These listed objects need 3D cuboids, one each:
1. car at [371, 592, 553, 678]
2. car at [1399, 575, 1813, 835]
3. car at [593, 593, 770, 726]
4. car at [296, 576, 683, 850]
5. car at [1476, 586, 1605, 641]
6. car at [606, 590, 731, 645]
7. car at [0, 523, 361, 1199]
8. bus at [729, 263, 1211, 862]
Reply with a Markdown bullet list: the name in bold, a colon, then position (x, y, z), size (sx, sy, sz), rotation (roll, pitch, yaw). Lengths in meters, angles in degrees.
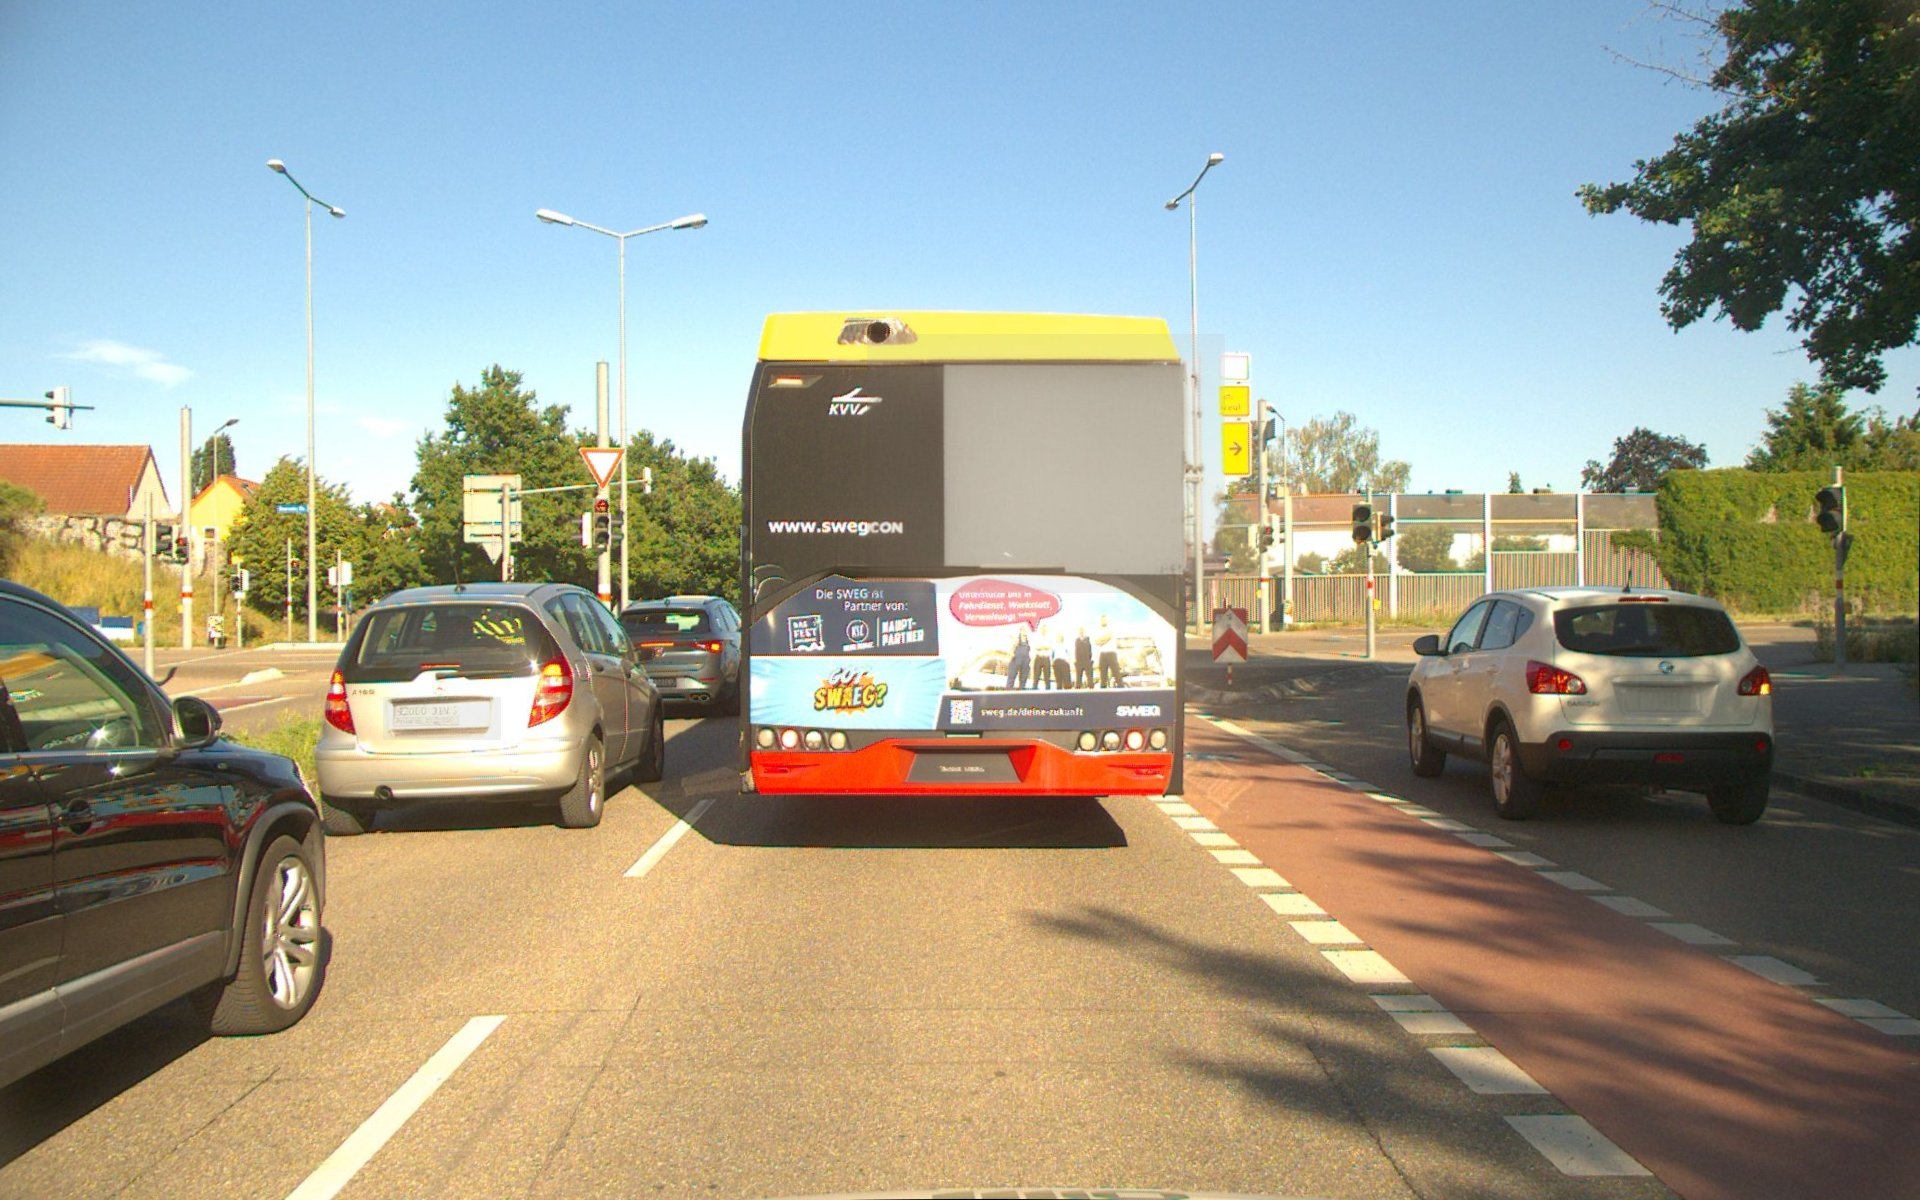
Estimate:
- **car**: position (-9.795, 0.649, 32.864), size (1.725, 1.552, 4.084), rotation (-2, 0, 11)
- **car**: position (4.662, 0.658, 12.596), size (1.681, 1.635, 4.069), rotation (1, 0, 2)
- **car**: position (-3.449, 0.678, 21.064), size (1.658, 1.484, 3.750), rotation (-2, 0, -1)
- **car**: position (-3.217, 0.683, 12.136), size (1.725, 1.617, 3.999), rotation (-2, 0, -1)
- **car**: position (20.652, 0.470, 58.928), size (3.906, 1.847, 1.922), rotation (1, 0, -2)
- **car**: position (-9.082, 0.553, 51.733), size (3.735, 1.641, 1.704), rotation (1, 0, -7)
- **car**: position (-3.144, 0.688, 4.309), size (1.736, 1.682, 3.999), rotation (-2, 0, -1)
- **bus**: position (0.021, -0.252, 14.899), size (2.589, 3.222, 11.860), rotation (0, 0, 0)
